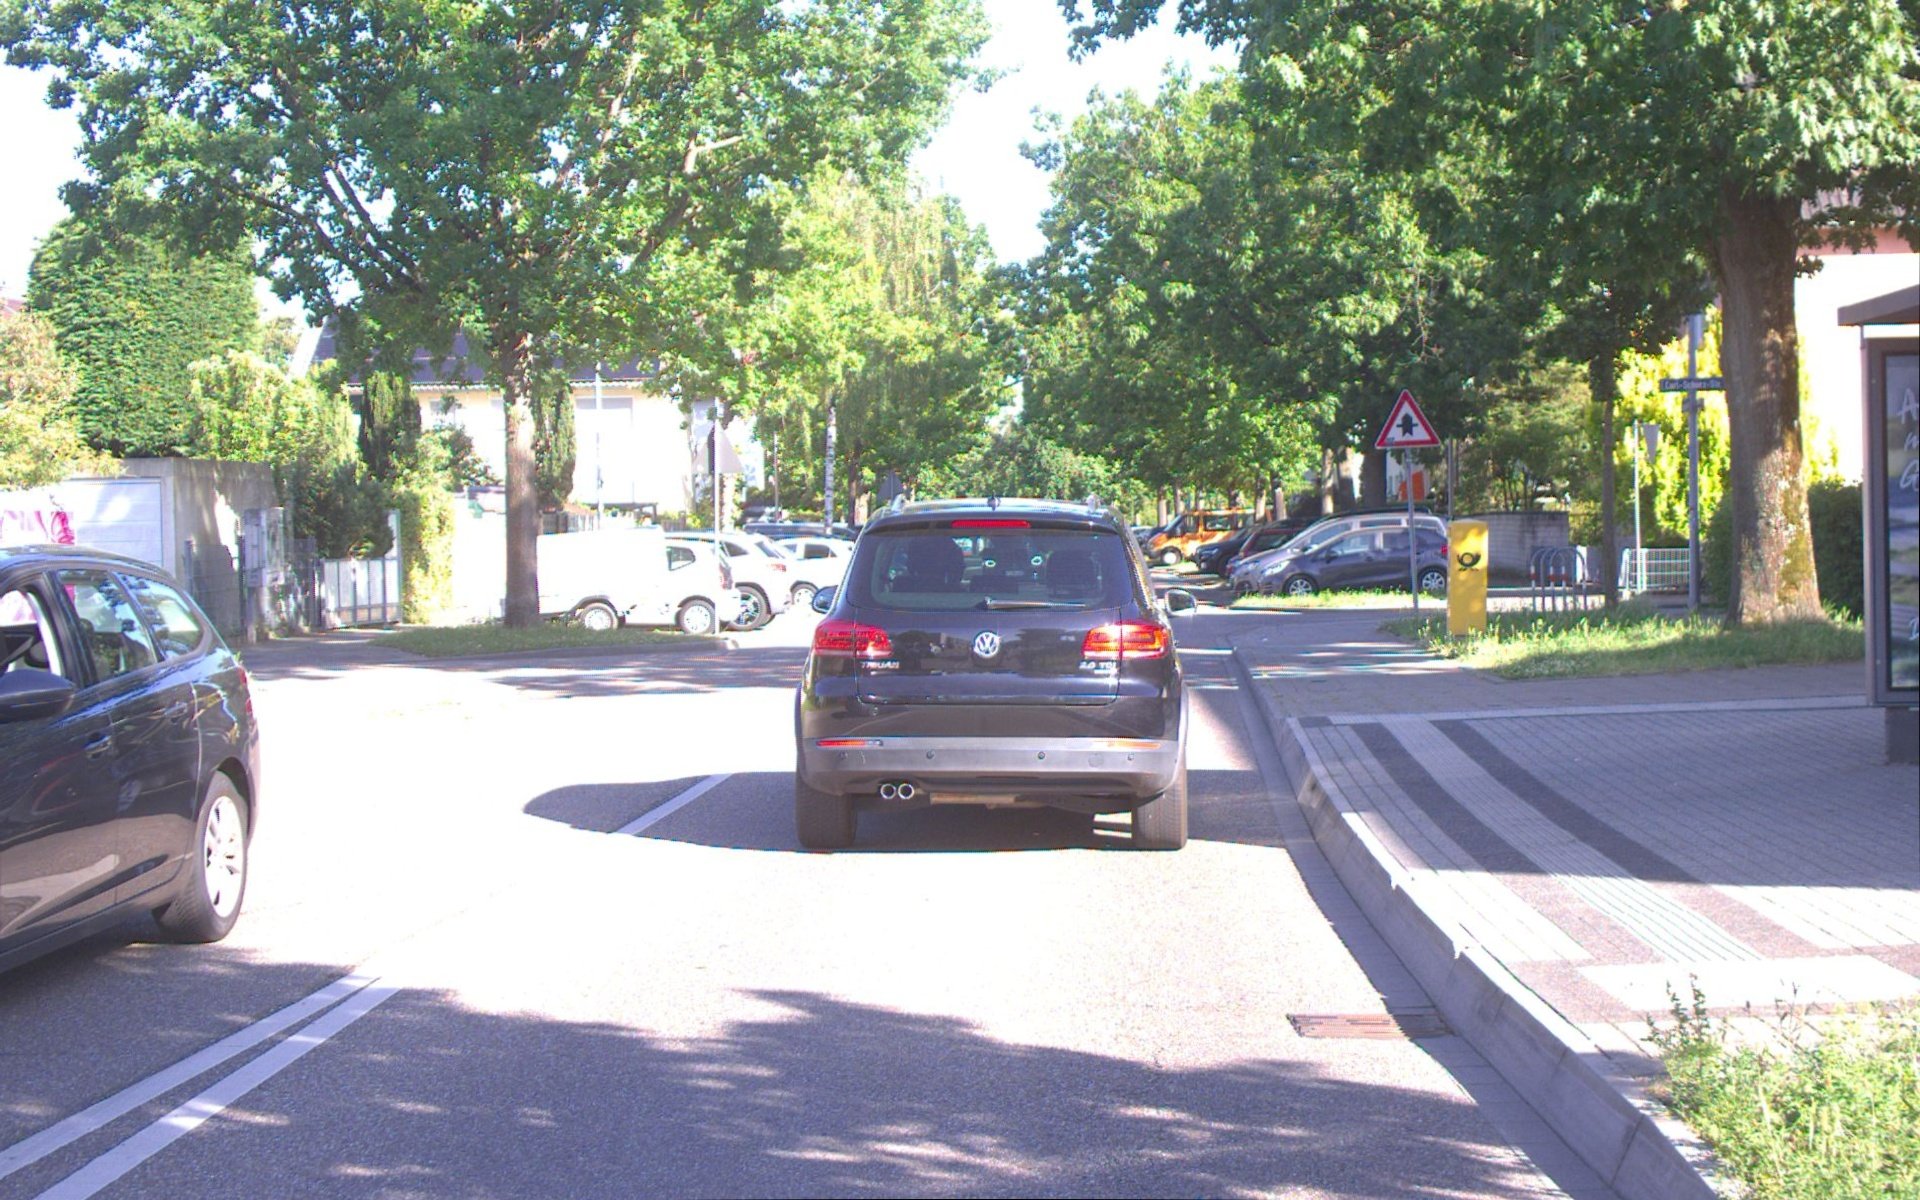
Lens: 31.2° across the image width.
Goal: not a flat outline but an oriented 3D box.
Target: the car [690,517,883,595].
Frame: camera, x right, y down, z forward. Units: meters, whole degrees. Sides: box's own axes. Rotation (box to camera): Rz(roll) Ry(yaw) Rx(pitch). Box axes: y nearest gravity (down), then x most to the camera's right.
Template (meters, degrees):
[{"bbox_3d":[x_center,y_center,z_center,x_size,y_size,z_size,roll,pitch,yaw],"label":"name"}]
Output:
[{"bbox_3d":[-3.780,-0.973,75.400,3.987,1.634,2.000,-1,1,4],"label":"car"}]

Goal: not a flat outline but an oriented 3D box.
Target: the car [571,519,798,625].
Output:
[{"bbox_3d":[-4.393,-0.463,55.266,3.548,1.608,1.853,-1,1,-3],"label":"car"}]

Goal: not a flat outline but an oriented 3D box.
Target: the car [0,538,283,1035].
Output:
[{"bbox_3d":[-3.747,0.526,11.181,1.994,1.438,4.450,1,1,3],"label":"car"}]

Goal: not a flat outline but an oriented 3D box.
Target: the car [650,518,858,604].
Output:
[{"bbox_3d":[-4.177,-0.809,70.076,3.987,1.664,2.000,-1,1,4],"label":"car"}]

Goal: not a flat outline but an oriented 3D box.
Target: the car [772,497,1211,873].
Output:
[{"bbox_3d":[0.090,0.312,17.506,1.929,1.648,4.515,0,2,-1],"label":"car"}]

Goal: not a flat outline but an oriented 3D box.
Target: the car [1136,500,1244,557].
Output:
[{"bbox_3d":[8.684,-2.692,129.739,3.987,2.007,2.000,-1,-1,4],"label":"car"}]

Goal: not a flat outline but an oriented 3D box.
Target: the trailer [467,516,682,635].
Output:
[{"bbox_3d":[-5.611,-0.367,50.287,2.967,1.650,1.396,-1,1,-1],"label":"trailer"}]

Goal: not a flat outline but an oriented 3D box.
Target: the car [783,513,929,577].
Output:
[{"bbox_3d":[-2.930,-1.548,97.233,3.987,1.714,1.820,-1,0,2],"label":"car"}]

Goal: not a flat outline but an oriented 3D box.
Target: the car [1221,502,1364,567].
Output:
[{"bbox_3d":[9.515,-1.886,98.502,3.987,1.769,1.789,-1,1,4],"label":"car"}]

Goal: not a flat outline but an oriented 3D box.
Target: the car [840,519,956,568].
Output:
[{"bbox_3d":[-2.229,-2.019,122.685,3.986,1.678,1.923,-1,1,-5],"label":"car"}]

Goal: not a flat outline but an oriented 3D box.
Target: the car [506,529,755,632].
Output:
[{"bbox_3d":[-5.012,-0.313,52.621,3.549,1.472,1.808,-1,1,3],"label":"car"}]

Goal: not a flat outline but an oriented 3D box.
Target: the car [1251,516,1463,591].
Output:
[{"bbox_3d":[7.759,-0.915,67.446,3.987,1.364,1.846,-1,1,3],"label":"car"}]

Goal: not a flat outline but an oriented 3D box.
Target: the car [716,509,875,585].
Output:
[{"bbox_3d":[-4.175,-1.356,87.653,3.987,1.830,1.638,-1,1,-1],"label":"car"}]

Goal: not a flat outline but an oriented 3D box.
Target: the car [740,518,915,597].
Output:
[{"bbox_3d":[-3.066,-1.001,80.129,3.987,1.725,2.000,-1,1,-1],"label":"car"}]

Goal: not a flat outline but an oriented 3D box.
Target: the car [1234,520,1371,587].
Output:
[{"bbox_3d":[8.139,-1.110,81.796,3.044,1.502,1.247,-1,1,-3],"label":"car"}]

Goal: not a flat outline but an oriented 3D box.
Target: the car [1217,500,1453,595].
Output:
[{"bbox_3d":[7.592,-1.070,69.954,4.633,1.803,1.824,-1,1,3],"label":"car"}]

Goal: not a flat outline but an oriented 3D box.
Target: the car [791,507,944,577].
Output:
[{"bbox_3d":[-2.674,-1.670,99.693,4.390,1.932,1.579,-1,0,-1],"label":"car"}]
